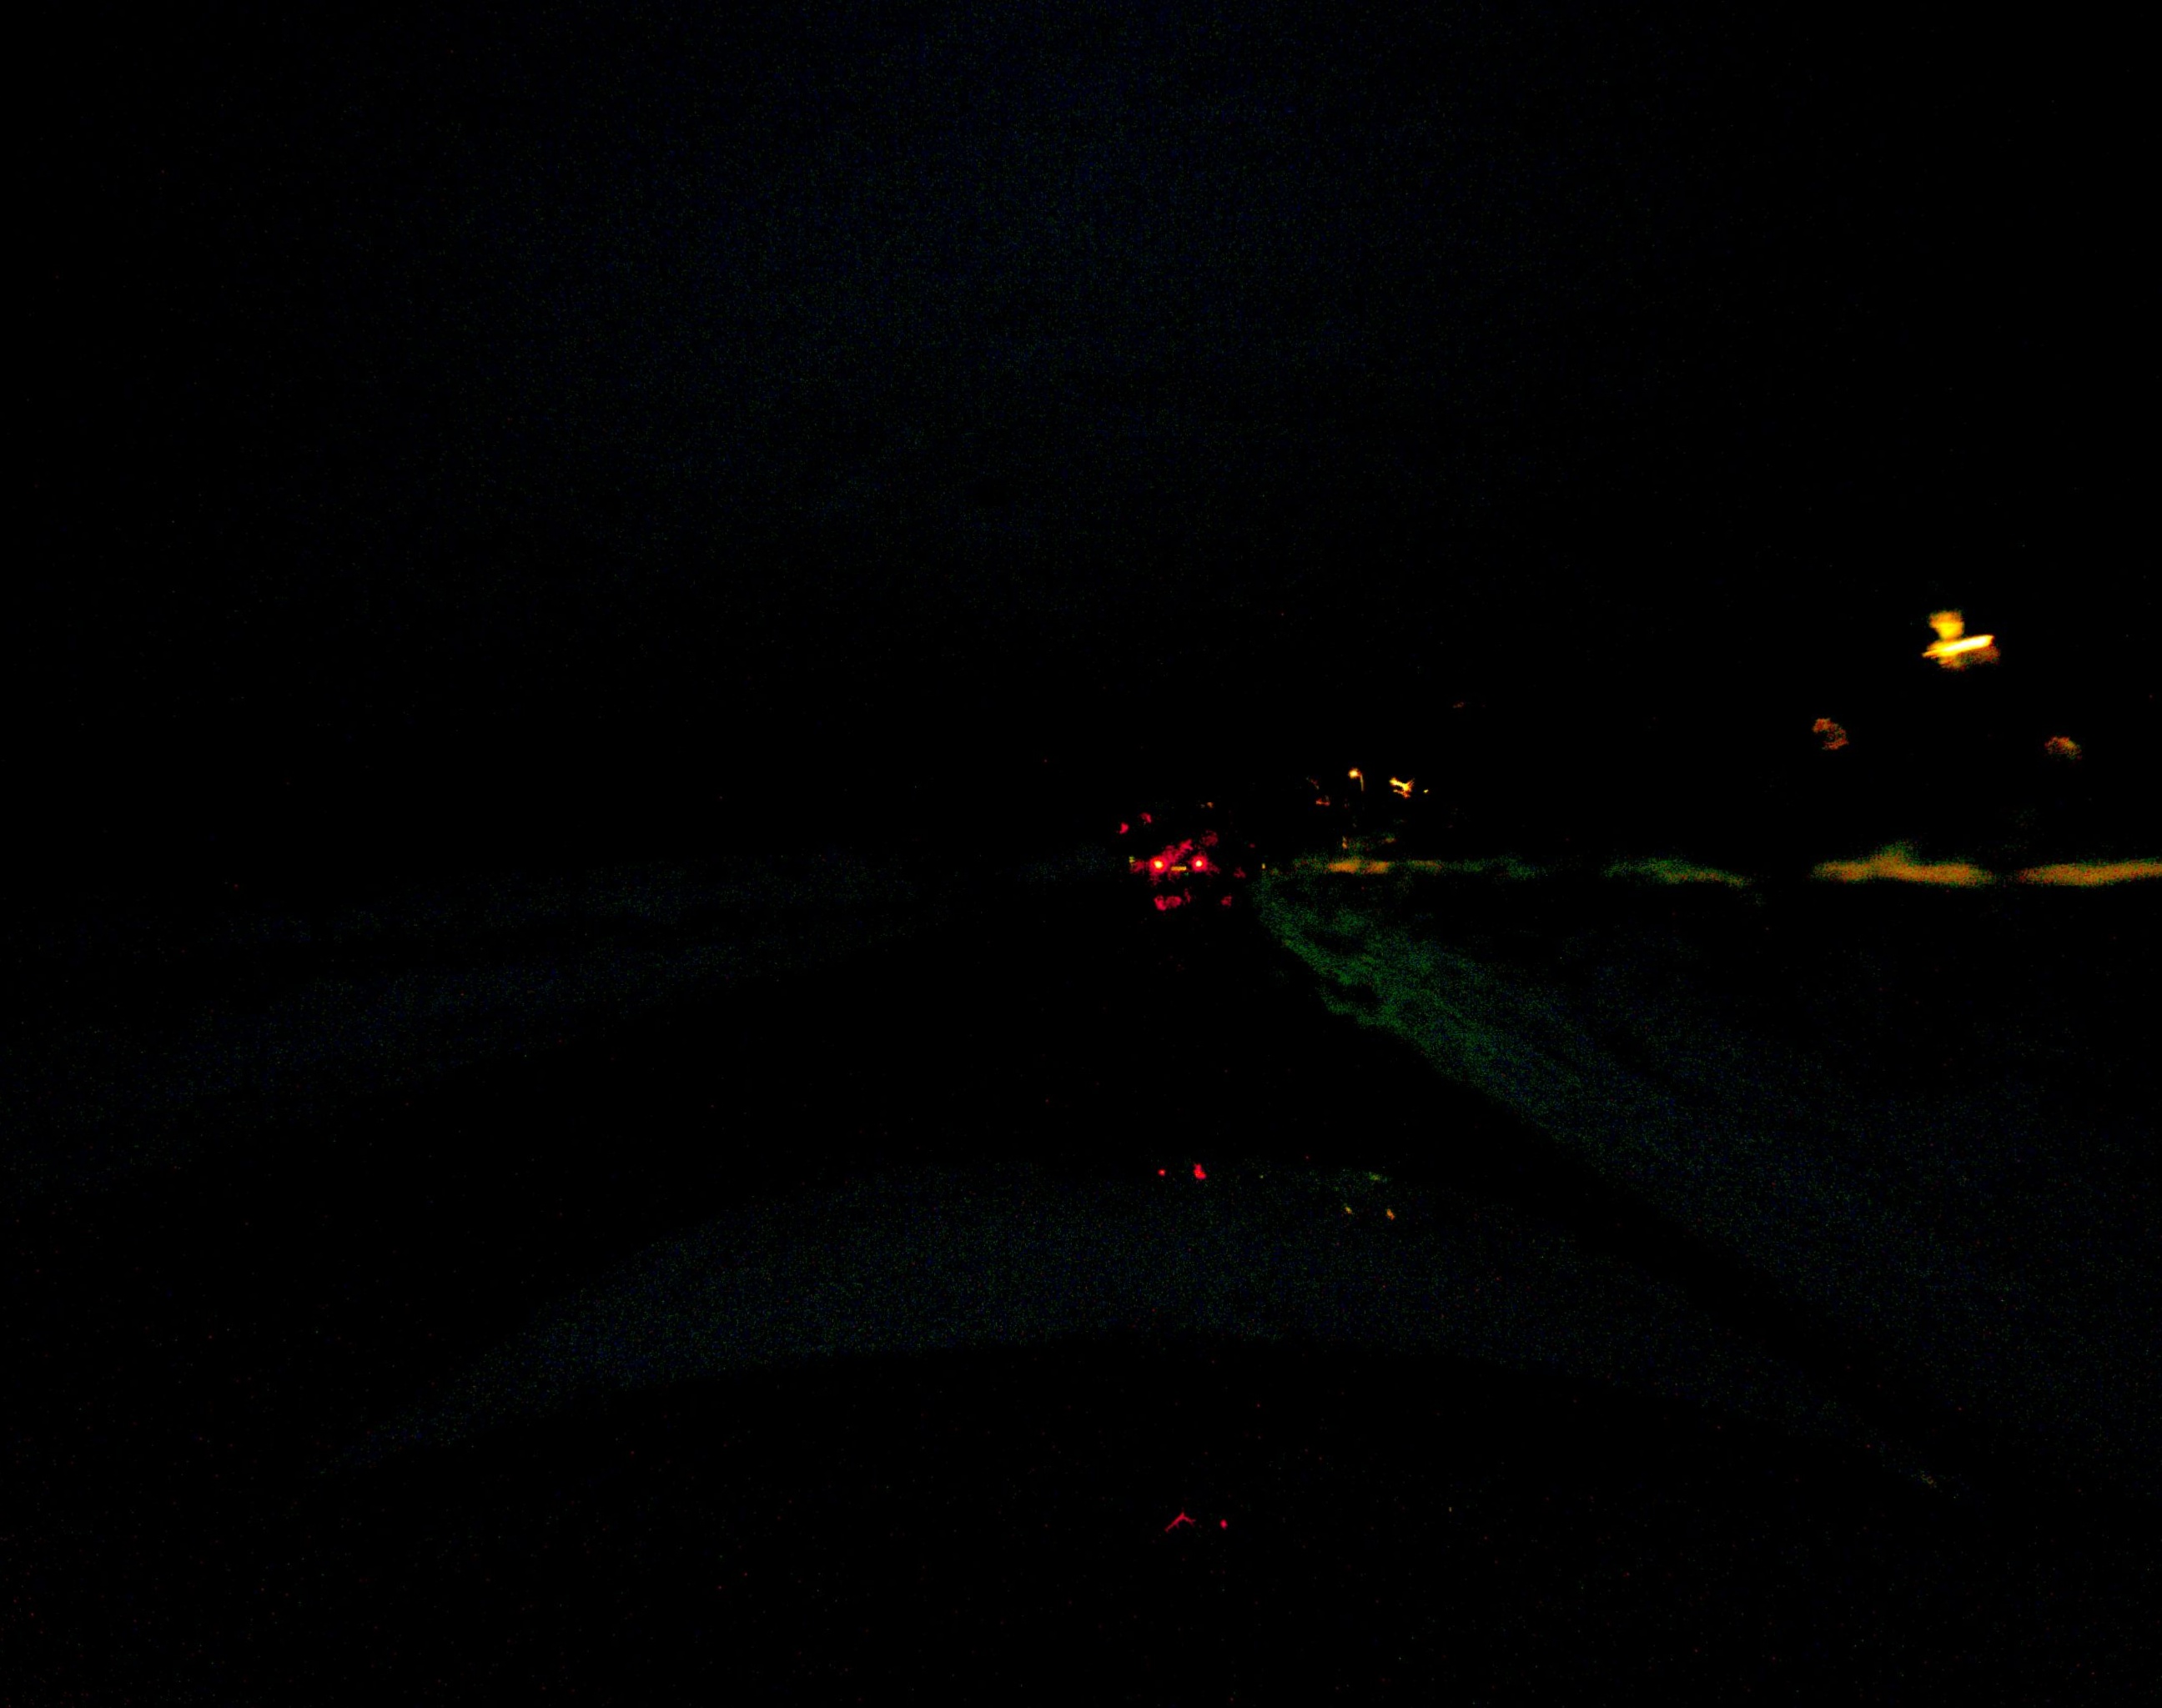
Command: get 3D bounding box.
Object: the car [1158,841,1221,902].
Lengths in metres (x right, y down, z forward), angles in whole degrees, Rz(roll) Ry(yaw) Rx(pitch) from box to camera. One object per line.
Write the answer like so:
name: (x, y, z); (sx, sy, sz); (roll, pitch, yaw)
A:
car: (3.612, 0.547, 27.617); (1.814, 1.796, 3.582); (-4, 0, 4)
